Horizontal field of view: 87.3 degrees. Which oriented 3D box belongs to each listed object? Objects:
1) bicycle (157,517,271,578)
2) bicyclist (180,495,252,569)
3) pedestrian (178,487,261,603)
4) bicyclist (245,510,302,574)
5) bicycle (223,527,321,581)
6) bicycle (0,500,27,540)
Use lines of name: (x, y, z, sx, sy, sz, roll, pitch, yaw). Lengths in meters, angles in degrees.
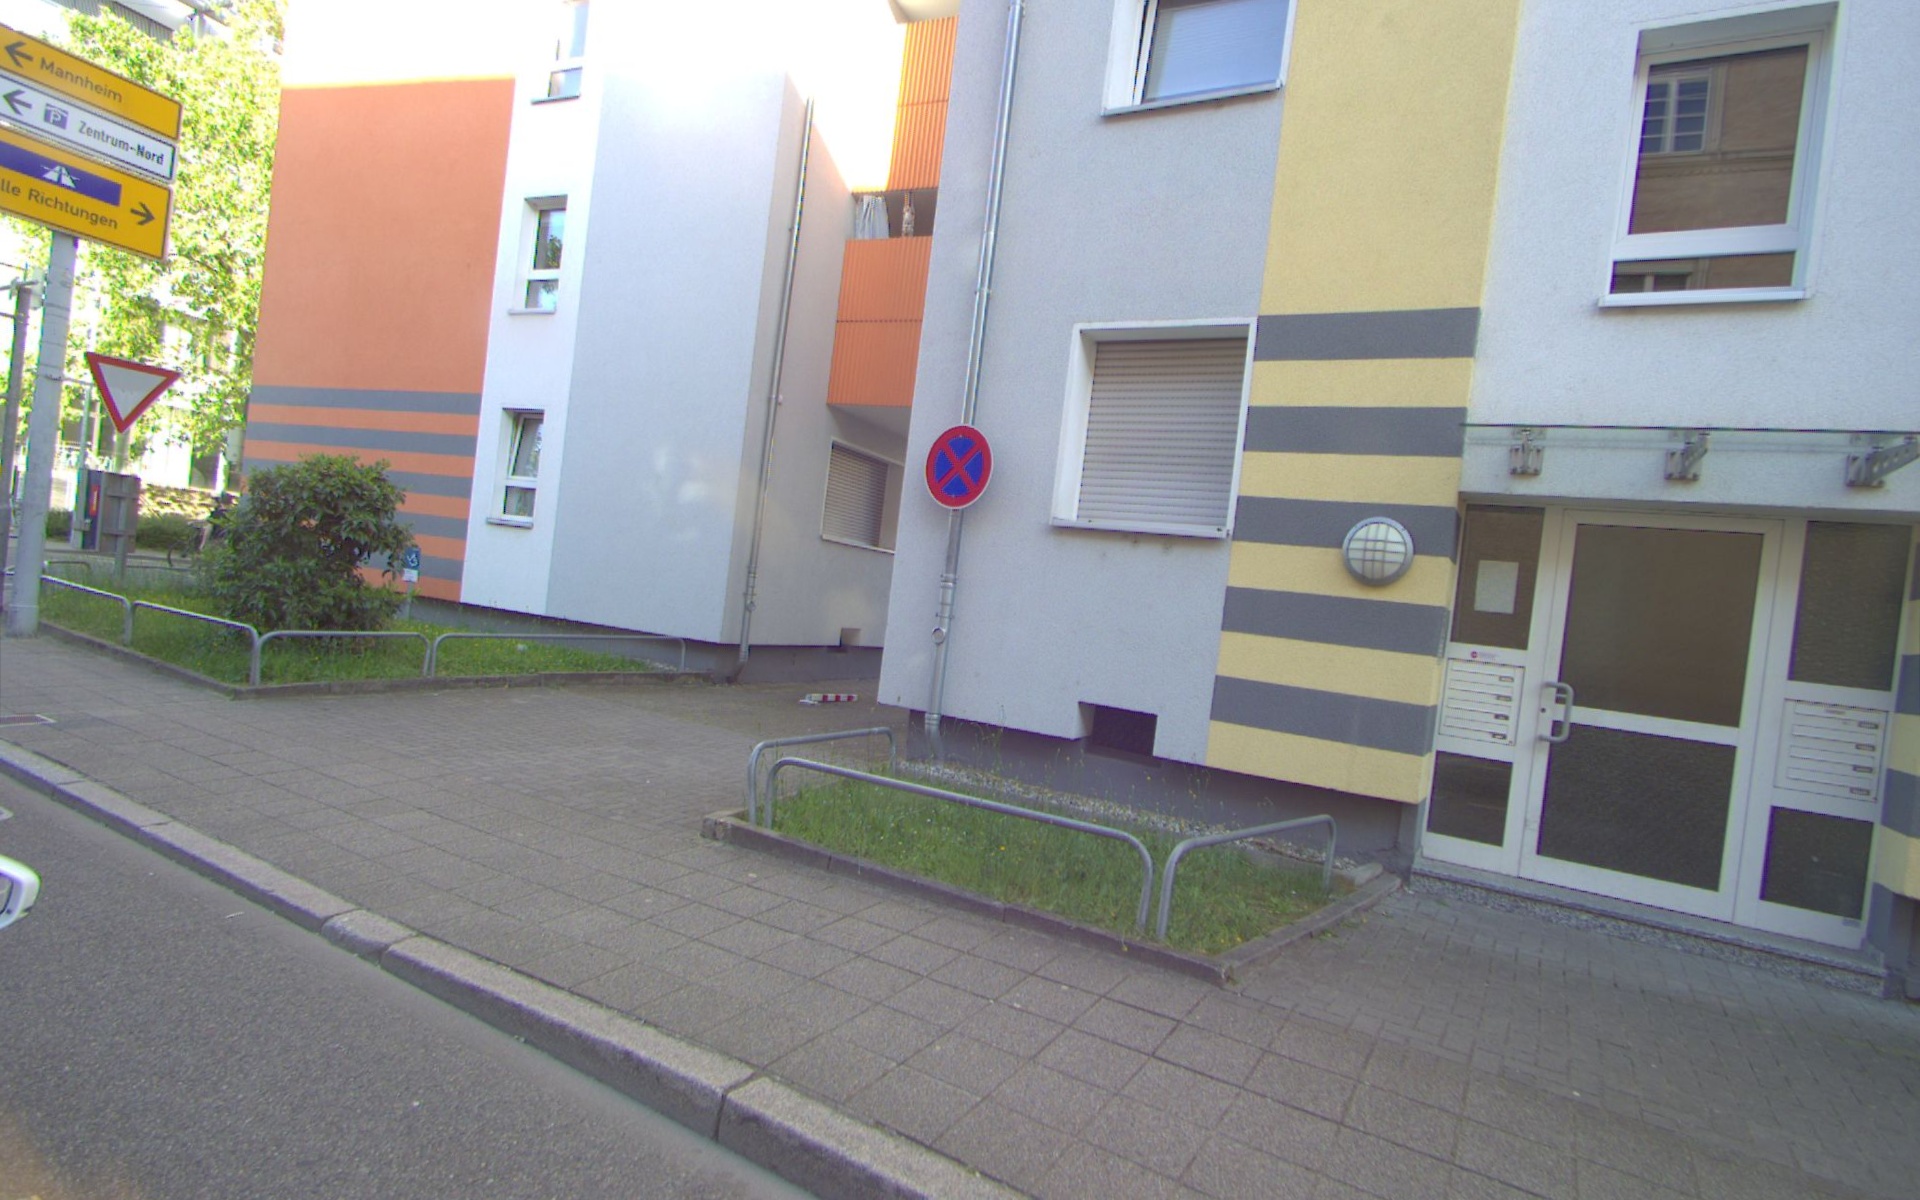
bicycle: (-17.267, -1.191, 23.334, 0.582, 1.166, 1.967, 7, 0, 29)
bicyclist: (-17.232, -1.572, 23.325, 0.582, 1.546, 1.077, 7, 1, 29)
pedestrian: (-12.544, -0.907, 17.067, 0.690, 1.831, 0.719, 7, -1, -9)
bicyclist: (-18.088, -1.514, 26.518, 0.693, 1.542, 0.916, 7, 1, 32)
bicycle: (-18.116, -1.191, 26.523, 0.617, 1.166, 1.965, 7, 0, 32)
bicycle: (-26.395, -2.244, 27.390, 1.409, 1.021, 0.379, 7, 1, -11)
